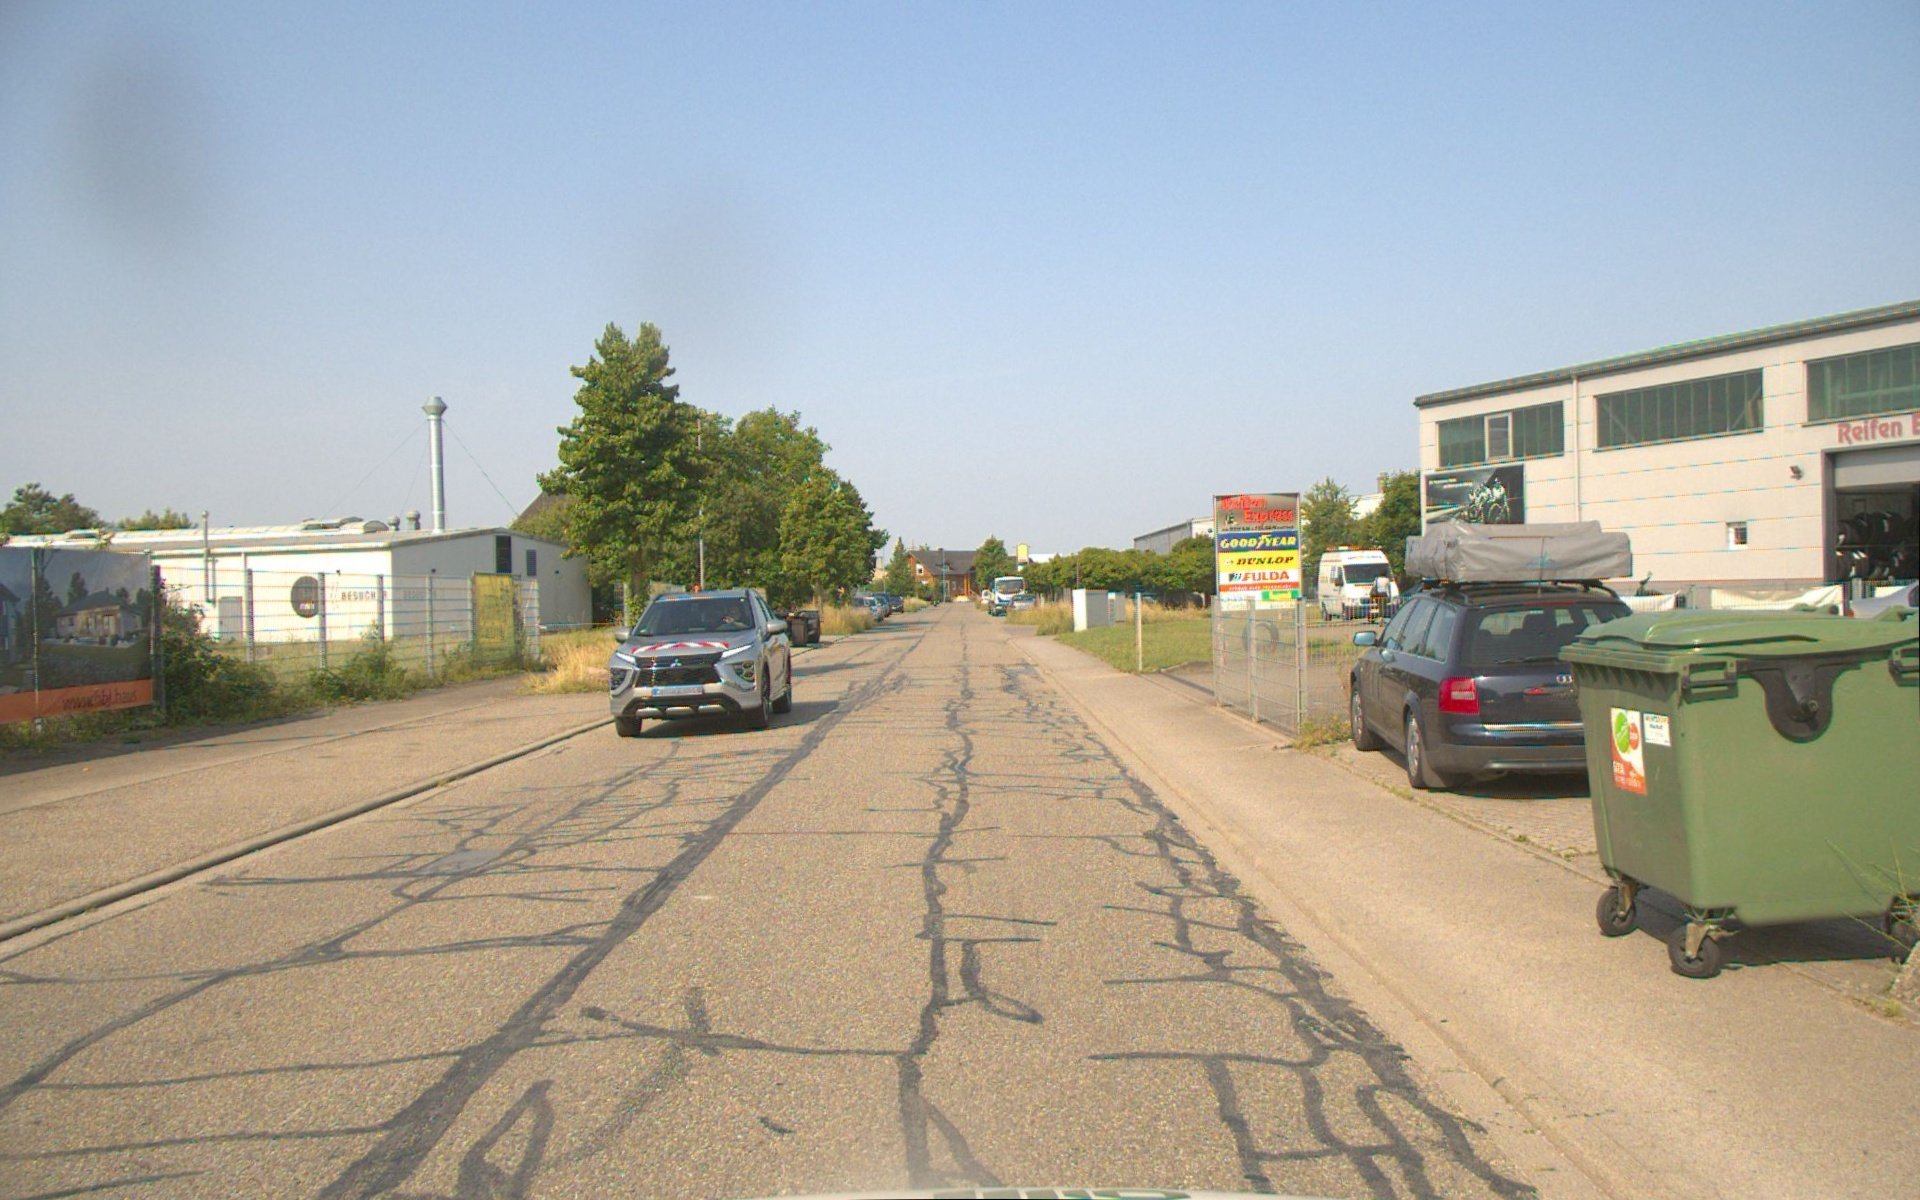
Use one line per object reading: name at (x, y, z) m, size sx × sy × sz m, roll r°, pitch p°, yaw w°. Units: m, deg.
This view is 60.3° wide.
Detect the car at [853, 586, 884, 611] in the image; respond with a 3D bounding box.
car at (-5.585, -0.088, 101.336) m, size 1.649 × 1.495 × 4.253 m, roll 0°, pitch 0°, yaw 0°

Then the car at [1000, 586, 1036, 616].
car at (3.177, 0.066, 90.726) m, size 1.757 × 1.544 × 4.424 m, roll -2°, pitch 0°, yaw 0°

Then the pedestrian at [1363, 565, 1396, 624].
pedestrian at (12.043, -0.156, 47.479) m, size 0.690 × 1.668 × 0.746 m, roll -1°, pitch 0°, yaw 34°

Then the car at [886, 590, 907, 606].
car at (-5.741, -0.187, 150.111) m, size 1.763 × 1.411 × 3.637 m, roll 0°, pitch 0°, yaw -1°

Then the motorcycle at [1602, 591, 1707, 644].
motorcycle at (15.261, 0.380, 36.422) m, size 0.790 × 1.114 × 2.186 m, roll -1°, pitch 0°, yaw -24°

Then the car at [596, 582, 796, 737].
car at (-3.123, 0.652, 20.384) m, size 1.775 × 1.655 × 4.249 m, roll -2°, pitch 0°, yaw -1°

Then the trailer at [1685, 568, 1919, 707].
trailer at (8.962, 0.345, 16.506) m, size 1.471 × 1.270 × 2.953 m, roll 0°, pitch 0°, yaw -26°

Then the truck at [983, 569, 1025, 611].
truck at (3.022, -0.672, 114.647) m, size 2.312 × 2.728 × 6.506 m, roll -2°, pitch 0°, yaw -3°

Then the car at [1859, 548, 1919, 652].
car at (15.686, -0.022, 24.755) m, size 1.611 × 1.595 × 3.781 m, roll -1°, pitch 0°, yaw -21°

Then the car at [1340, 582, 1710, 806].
car at (4.085, 0.593, 12.699) m, size 1.638 × 1.392 × 4.396 m, roll -1°, pitch 0°, yaw 5°

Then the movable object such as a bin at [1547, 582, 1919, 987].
movable object such as a bin at (3.188, 0.654, 6.651) m, size 1.059 × 1.377 × 1.506 m, roll -4°, pitch 0°, yaw 1°

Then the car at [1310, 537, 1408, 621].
car at (13.942, -0.698, 58.118) m, size 1.934 × 2.753 × 5.880 m, roll -1°, pitch 0°, yaw 0°

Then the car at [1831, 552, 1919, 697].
car at (11.030, 0.228, 16.231) m, size 1.616 × 1.491 × 4.433 m, roll -1°, pitch 0°, yaw -21°

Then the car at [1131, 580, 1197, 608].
car at (12.708, -0.384, 102.950) m, size 4.501 × 1.616 × 1.660 m, roll -2°, pitch 0°, yaw -45°

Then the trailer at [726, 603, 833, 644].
trailer at (-5.805, 0.720, 54.478) m, size 2.530 × 1.205 × 9.362 m, roll 0°, pitch 0°, yaw 0°
